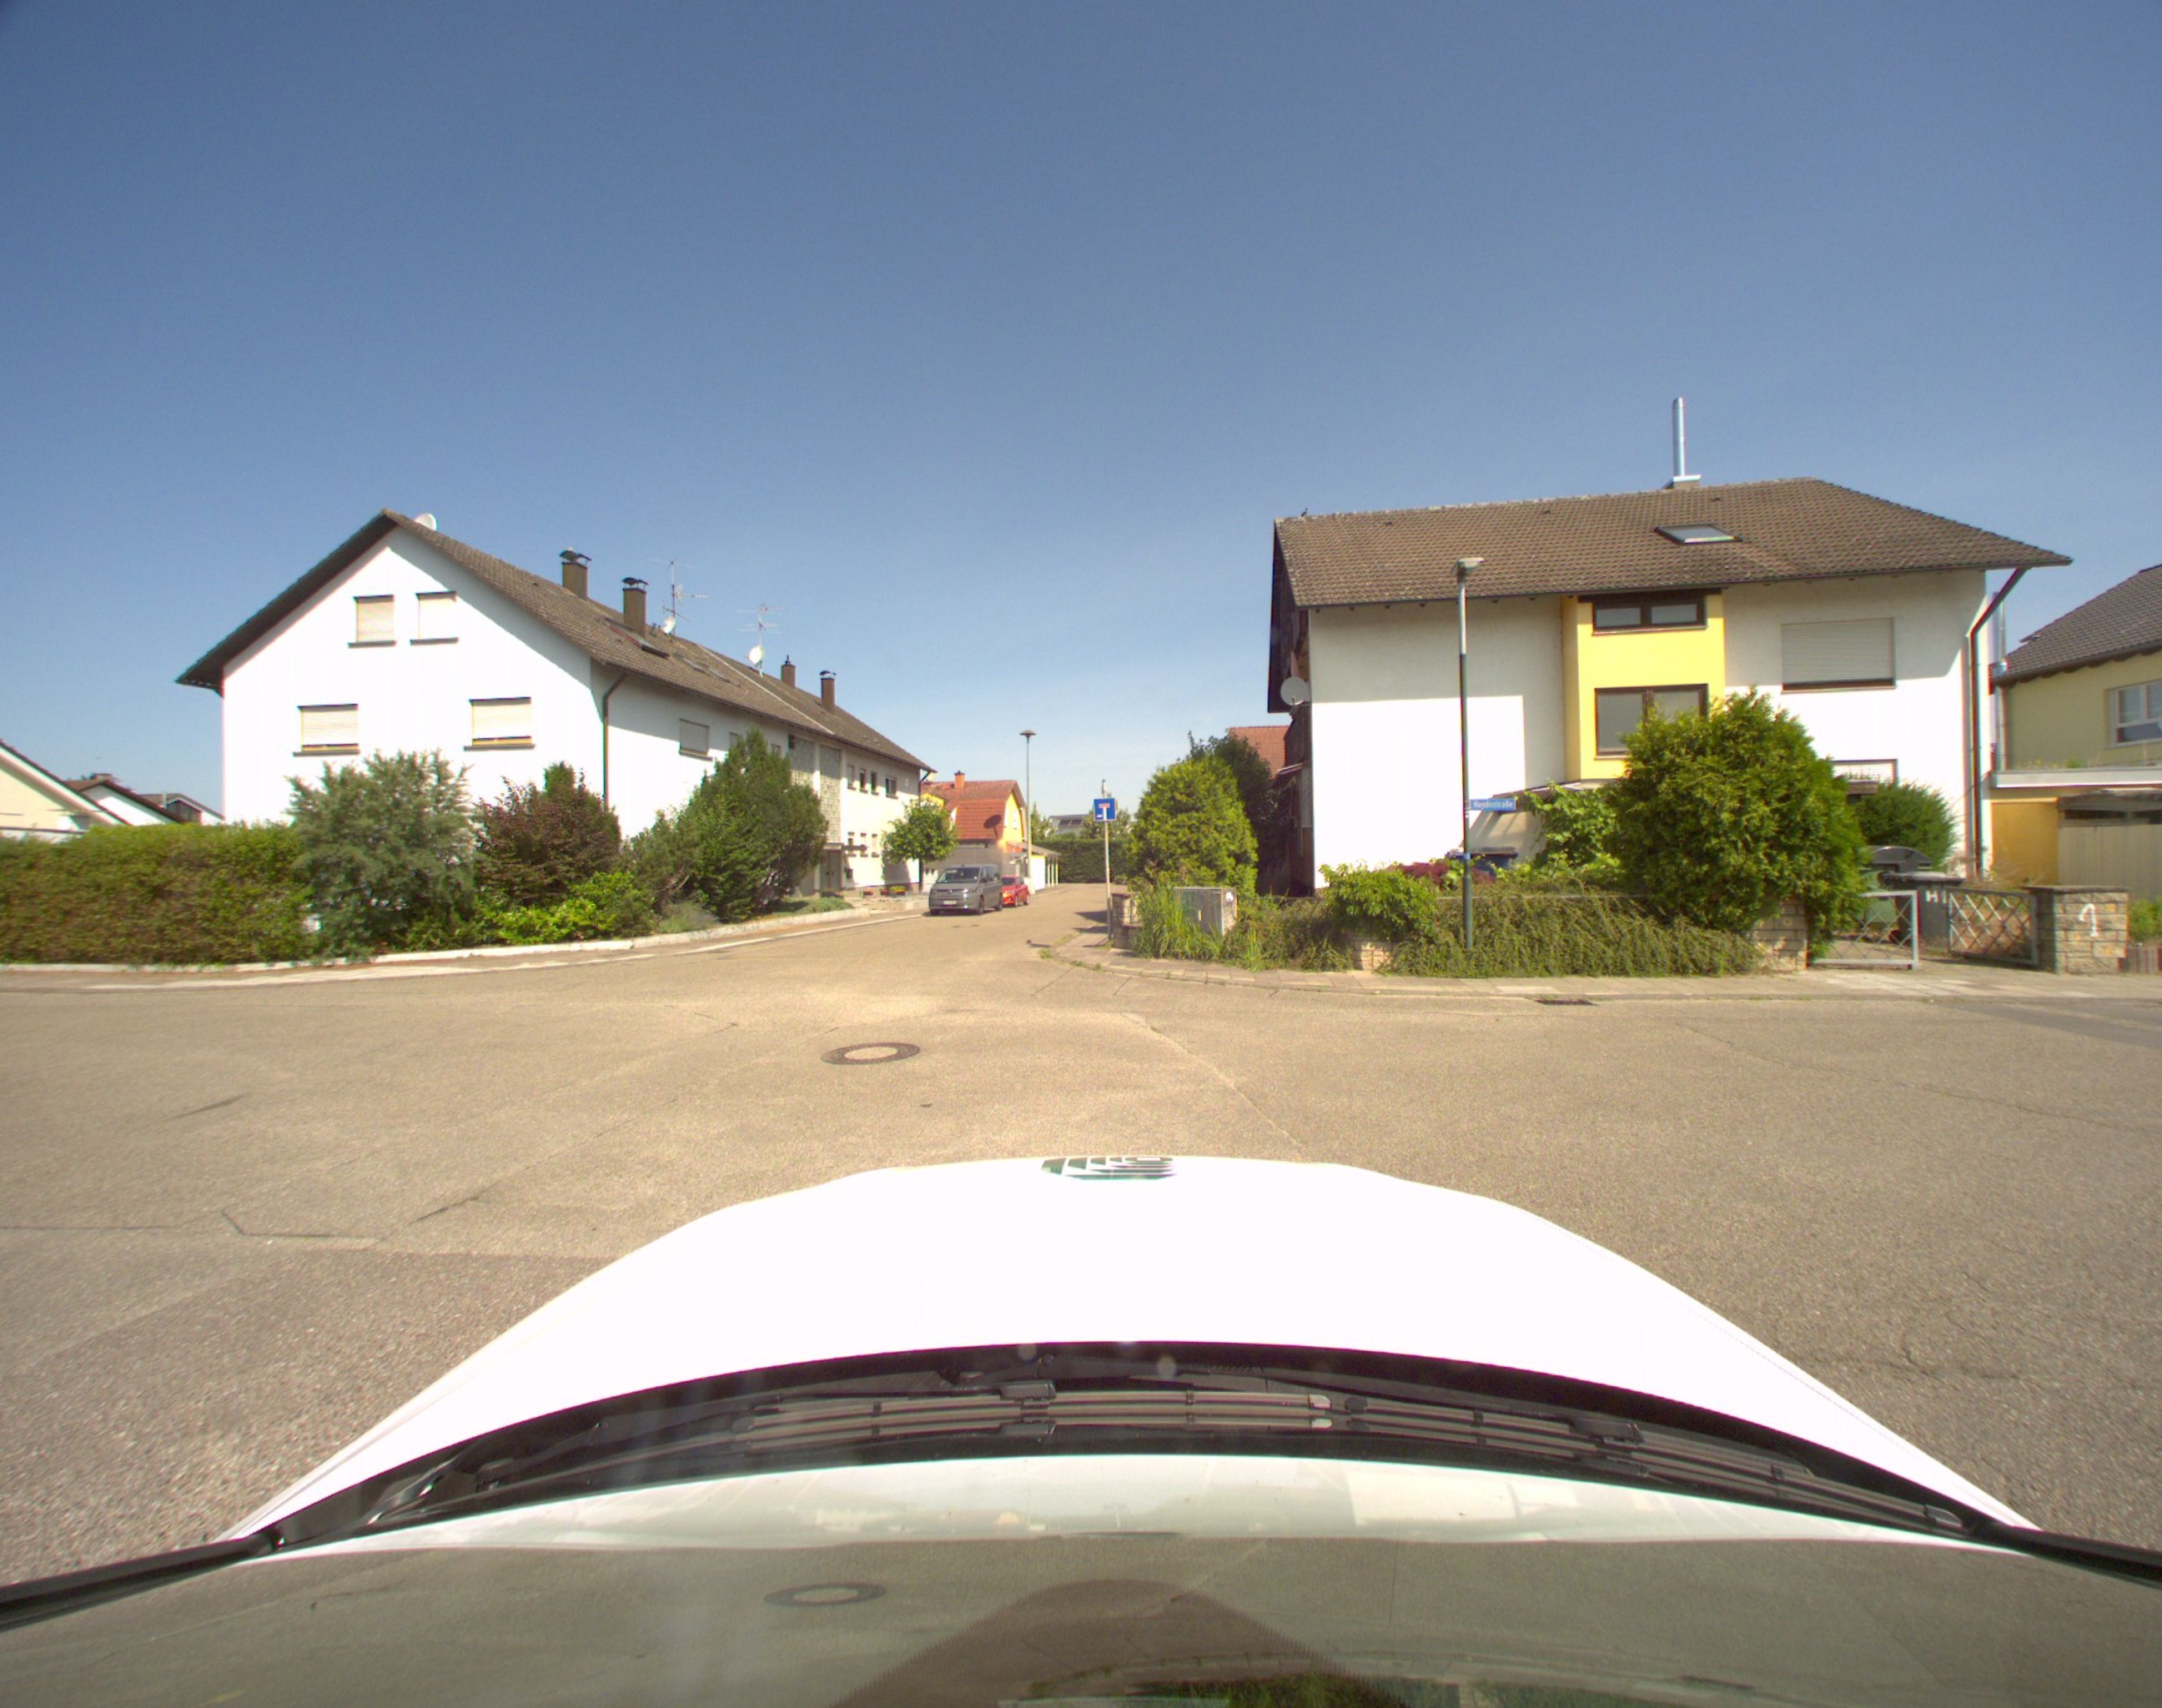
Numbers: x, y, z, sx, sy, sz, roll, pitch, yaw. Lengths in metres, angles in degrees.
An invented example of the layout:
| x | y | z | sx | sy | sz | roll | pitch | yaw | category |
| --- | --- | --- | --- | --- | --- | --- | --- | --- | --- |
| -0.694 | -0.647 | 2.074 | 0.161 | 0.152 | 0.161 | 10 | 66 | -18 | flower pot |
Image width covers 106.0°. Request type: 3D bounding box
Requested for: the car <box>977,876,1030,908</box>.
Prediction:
| x | y | z | sx | sy | sz | roll | pitch | yaw | category |
| --- | --- | --- | --- | --- | --- | --- | --- | --- | --- |
| -3.569 | 1.737 | 37.896 | 1.643 | 1.365 | 3.786 | -1 | -1 | 7 | car |

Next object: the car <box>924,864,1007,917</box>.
| x | y | z | sx | sy | sz | roll | pitch | yaw | category |
| --- | --- | --- | --- | --- | --- | --- | --- | --- | --- |
| -4.359 | 1.342 | 31.444 | 1.889 | 1.870 | 4.383 | -1 | -1 | 10 | car |
